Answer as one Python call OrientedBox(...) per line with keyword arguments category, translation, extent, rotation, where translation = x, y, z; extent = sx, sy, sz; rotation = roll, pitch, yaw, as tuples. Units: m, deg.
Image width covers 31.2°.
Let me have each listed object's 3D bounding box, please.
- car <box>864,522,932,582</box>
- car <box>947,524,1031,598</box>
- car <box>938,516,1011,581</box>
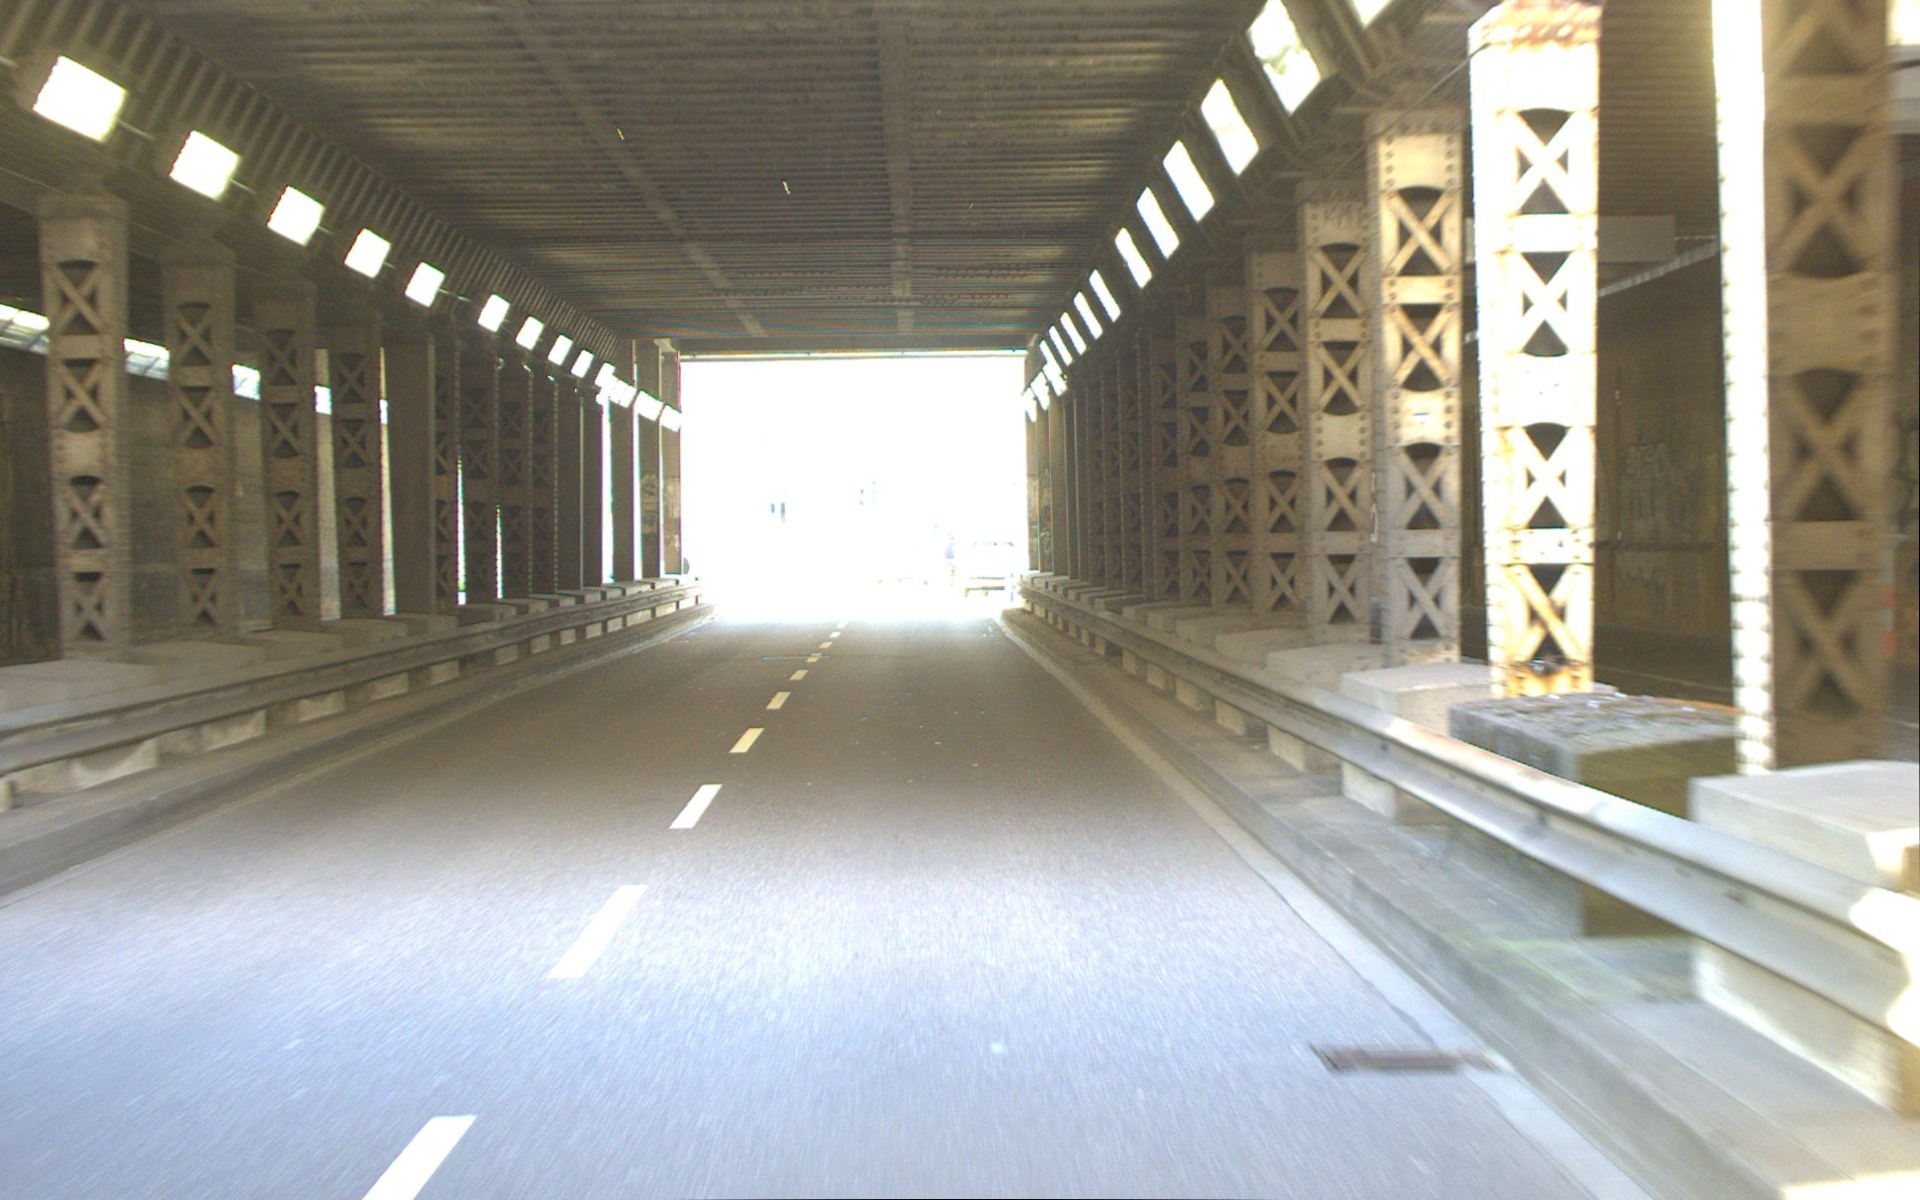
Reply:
OrientedBox(category="car", translation=(-1.887, -1.475, 105.226), extent=(1.993, 1.778, 4.000), rotation=(-1, 1, -1))
OrientedBox(category="car", translation=(0.709, -1.002, 86.488), extent=(1.993, 1.778, 4.000), rotation=(-1, 1, -1))
OrientedBox(category="car", translation=(0.392, -1.485, 97.909), extent=(1.993, 1.778, 4.000), rotation=(-1, 1, -1))
